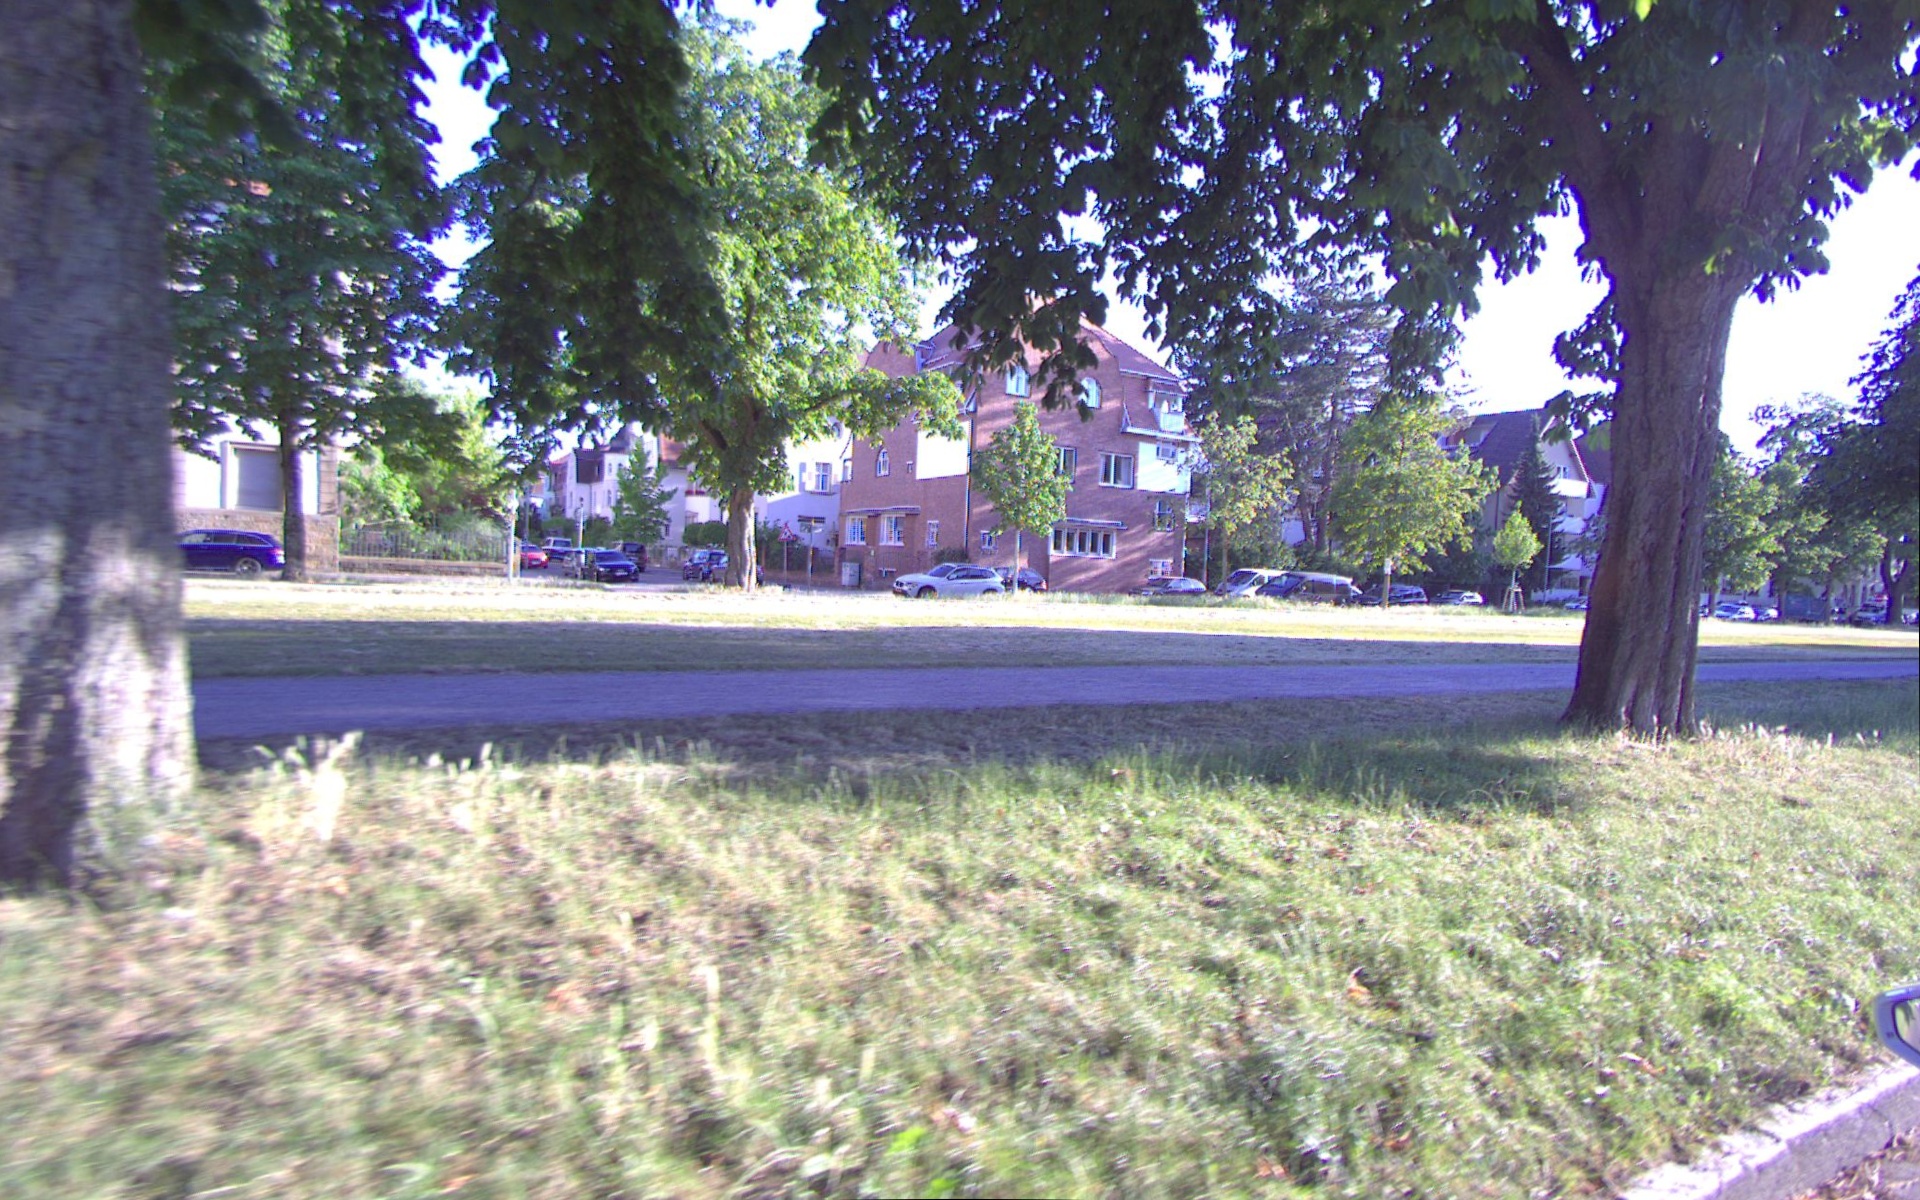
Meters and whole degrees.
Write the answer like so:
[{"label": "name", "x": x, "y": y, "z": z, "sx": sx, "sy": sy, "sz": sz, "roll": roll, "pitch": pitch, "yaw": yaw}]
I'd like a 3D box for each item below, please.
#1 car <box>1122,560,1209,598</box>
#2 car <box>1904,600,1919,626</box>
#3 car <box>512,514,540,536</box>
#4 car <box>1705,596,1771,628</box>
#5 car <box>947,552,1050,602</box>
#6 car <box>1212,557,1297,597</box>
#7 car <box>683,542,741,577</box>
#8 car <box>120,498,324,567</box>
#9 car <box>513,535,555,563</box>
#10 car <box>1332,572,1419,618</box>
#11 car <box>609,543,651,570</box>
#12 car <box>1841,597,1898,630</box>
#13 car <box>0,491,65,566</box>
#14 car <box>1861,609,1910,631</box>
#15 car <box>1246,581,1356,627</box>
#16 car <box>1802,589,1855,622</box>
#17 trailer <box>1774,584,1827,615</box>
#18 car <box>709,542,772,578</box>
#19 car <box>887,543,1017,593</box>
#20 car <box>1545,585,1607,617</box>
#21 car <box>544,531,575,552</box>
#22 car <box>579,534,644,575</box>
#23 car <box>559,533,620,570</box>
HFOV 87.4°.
[{"label": "car", "x": 10.578, "y": -1.078, "z": 51.693, "sx": 4.254, "sy": 1.645, "sz": 1.748, "roll": 2, "pitch": 3, "yaw": -30}, {"label": "car", "x": 86.609, "y": 1.201, "z": 89.953, "sx": 4.263, "sy": 2.205, "sz": 1.677, "roll": 2, "pitch": 3, "yaw": -30}, {"label": "car", "x": -47.241, "y": -8.166, "z": 109.266, "sx": 1.980, "sy": 2.208, "sz": 3.960, "roll": 2, "pitch": 3, "yaw": -35}, {"label": "car", "x": 53.815, "y": 0.851, "z": 69.452, "sx": 4.204, "sy": 1.885, "sz": 1.984, "roll": 3, "pitch": 3, "yaw": -29}, {"label": "car", "x": 1.758, "y": -1.022, "z": 45.525, "sx": 4.316, "sy": 2.041, "sz": 1.748, "roll": 2, "pitch": 3, "yaw": -30}, {"label": "car", "x": 15.911, "y": -1.251, "z": 54.280, "sx": 4.356, "sy": 1.862, "sz": 1.808, "roll": 2, "pitch": 3, "yaw": -30}, {"label": "car", "x": -12.752, "y": -2.097, "z": 51.456, "sx": 1.814, "sy": 1.595, "sz": 3.877, "roll": 2, "pitch": 3, "yaw": -30}, {"label": "car", "x": -22.831, "y": -2.064, "z": 31.373, "sx": 4.953, "sy": 1.773, "sz": 1.982, "roll": 2, "pitch": 3, "yaw": -32}, {"label": "car", "x": -26.583, "y": -3.200, "z": 62.615, "sx": 1.976, "sy": 1.506, "sz": 3.969, "roll": 2, "pitch": 3, "yaw": -29}, {"label": "car", "x": 21.271, "y": -0.276, "z": 51.468, "sx": 3.953, "sy": 2.041, "sz": 1.984, "roll": 2, "pitch": 4, "yaw": -30}, {"label": "car", "x": -21.665, "y": -2.868, "z": 65.819, "sx": 1.814, "sy": 1.595, "sz": 3.877, "roll": 2, "pitch": 3, "yaw": -30}, {"label": "car", "x": 88.844, "y": 1.351, "z": 98.066, "sx": 5.751, "sy": 2.961, "sz": 2.426, "roll": 3, "pitch": 0, "yaw": -30}, {"label": "car", "x": -28.423, "y": -2.121, "z": 27.983, "sx": 4.816, "sy": 2.041, "sz": 1.985, "roll": 2, "pitch": 2, "yaw": -29}, {"label": "car", "x": 77.938, "y": 1.700, "z": 84.576, "sx": 4.263, "sy": 1.580, "sz": 1.677, "roll": 2, "pitch": 2, "yaw": -30}, {"label": "car", "x": 16.388, "y": 0.203, "z": 48.175, "sx": 5.183, "sy": 1.967, "sz": 1.984, "roll": 2, "pitch": 3, "yaw": -30}, {"label": "car", "x": 80.078, "y": 0.542, "z": 92.600, "sx": 5.126, "sy": 2.708, "sz": 1.984, "roll": 2, "pitch": 2, "yaw": -30}, {"label": "trailer", "x": 74.846, "y": -0.002, "z": 89.457, "sx": 4.668, "sy": 2.460, "sz": 1.984, "roll": 2, "pitch": 2, "yaw": -30}, {"label": "car", "x": -10.504, "y": -1.937, "z": 47.797, "sx": 1.842, "sy": 1.506, "sz": 3.969, "roll": 2, "pitch": 3, "yaw": -29}, {"label": "car", "x": -0.276, "y": -1.190, "z": 38.123, "sx": 4.596, "sy": 1.661, "sz": 1.810, "roll": 1, "pitch": 3, "yaw": -31}, {"label": "car", "x": 43.899, "y": 0.059, "z": 71.559, "sx": 3.952, "sy": 2.040, "sz": 2.022, "roll": 3, "pitch": 0, "yaw": -30}, {"label": "car", "x": -34.028, "y": -4.953, "z": 85.300, "sx": 1.814, "sy": 1.595, "sz": 3.877, "roll": 2, "pitch": 3, "yaw": -30}, {"label": "car", "x": -15.583, "y": -2.045, "z": 44.753, "sx": 1.975, "sy": 1.629, "sz": 4.833, "roll": 0, "pitch": 4, "yaw": -29}, {"label": "car", "x": -18.495, "y": -2.439, "z": 49.981, "sx": 2.162, "sy": 1.629, "sz": 4.833, "roll": 2, "pitch": 3, "yaw": -29}]
